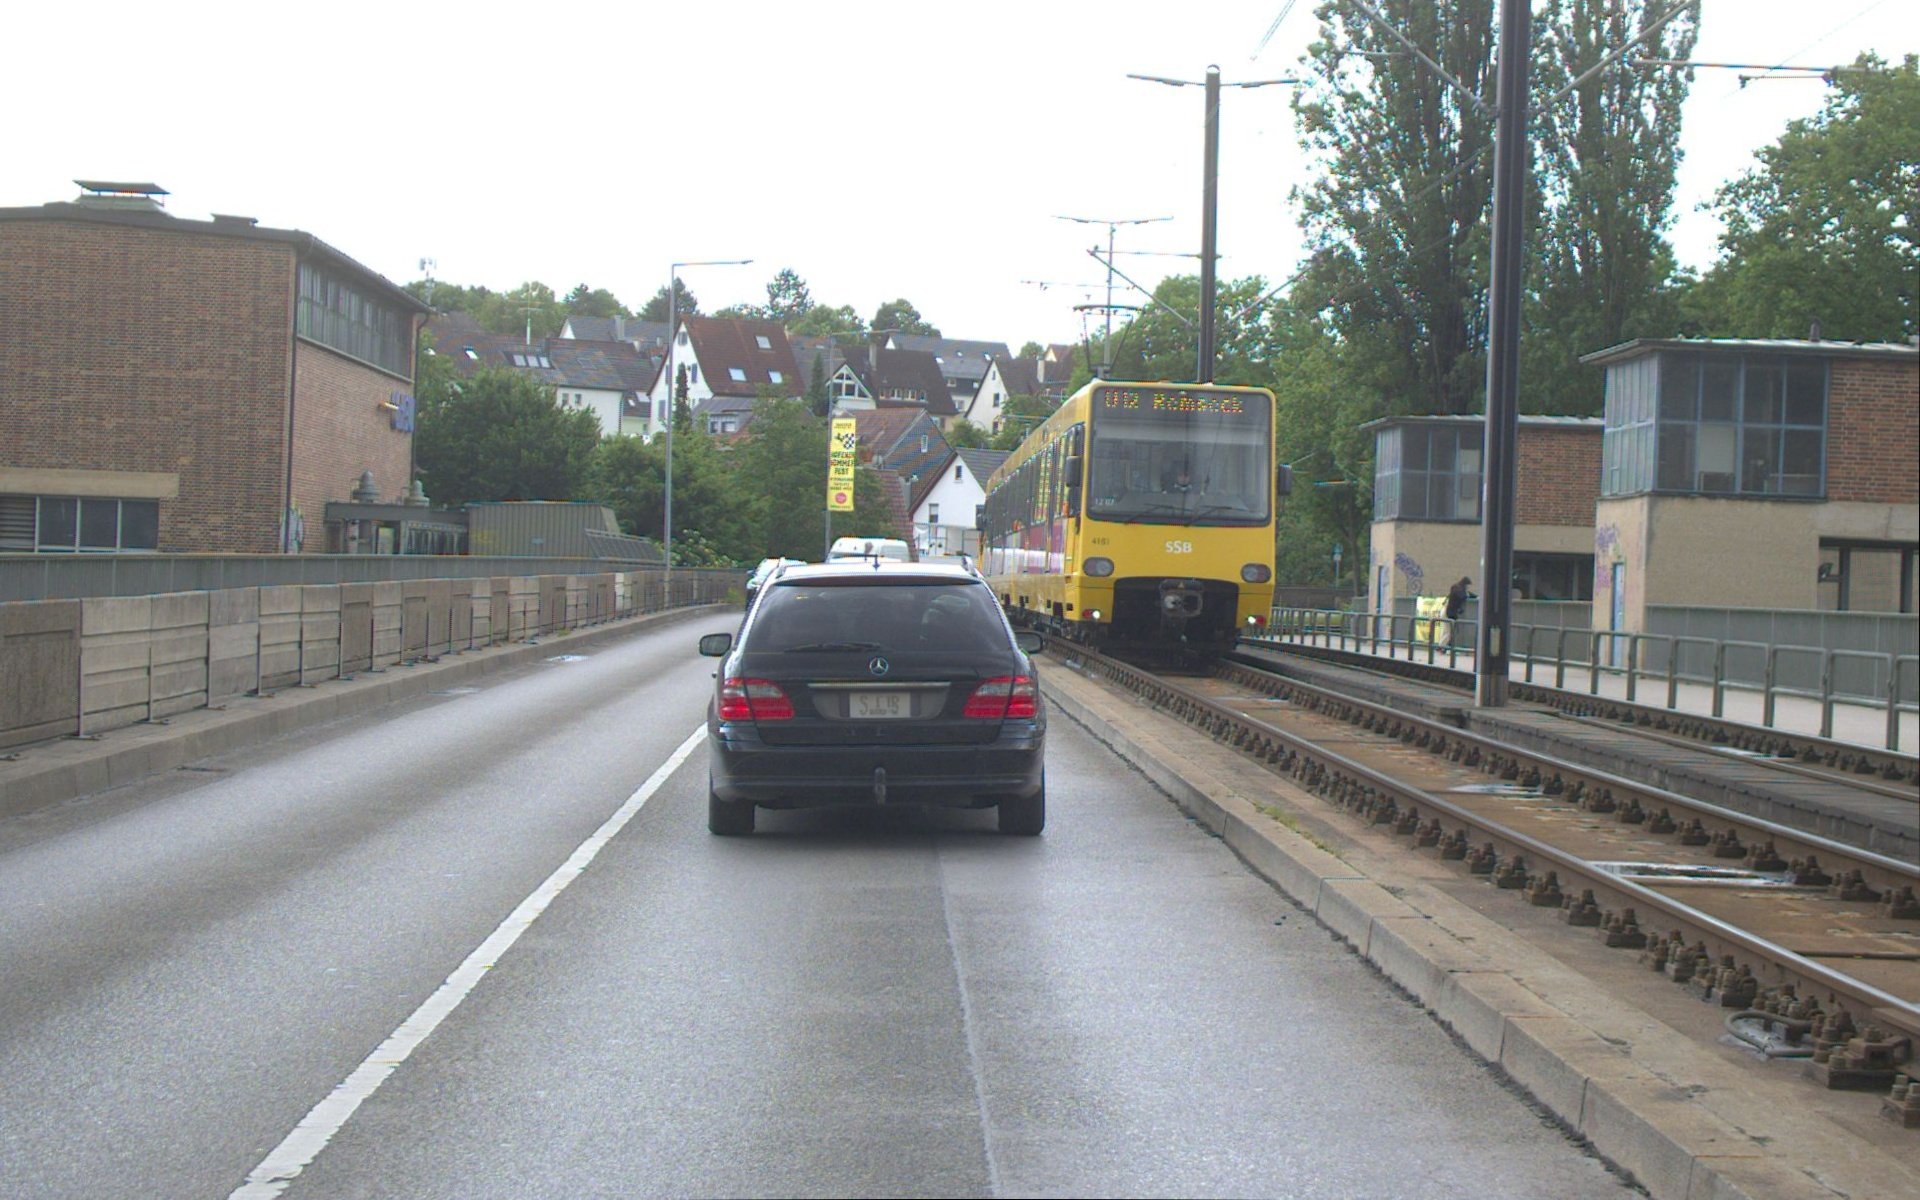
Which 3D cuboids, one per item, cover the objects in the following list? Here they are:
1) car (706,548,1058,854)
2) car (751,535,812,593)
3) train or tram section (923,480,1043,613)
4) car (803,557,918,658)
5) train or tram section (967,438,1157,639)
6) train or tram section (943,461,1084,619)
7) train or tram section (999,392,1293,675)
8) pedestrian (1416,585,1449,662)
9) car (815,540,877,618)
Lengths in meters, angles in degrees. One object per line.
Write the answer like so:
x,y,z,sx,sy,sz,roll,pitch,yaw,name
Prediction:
-0.414,0.476,19.537,1.759,1.510,4.443,1,1,0,car
-5.185,-1.077,100.214,1.715,1.640,4.001,0,1,-2,car
0.563,-1.616,109.700,2.793,3.751,19.894,2,0,-2,train or tram section
-1.677,0.098,56.586,1.770,1.550,4.241,1,1,-3,car
1.835,-1.235,70.549,2.829,3.568,18.668,0,1,-2,train or tram section
1.187,-1.456,89.807,2.784,3.643,19.894,0,0,-2,train or tram section
2.408,-0.962,51.845,2.882,3.497,18.668,0,1,-2,train or tram section
10.029,0.502,73.029,0.577,1.604,0.613,1,0,0,pedestrian
-3.916,-0.774,118.808,2.033,2.552,7.008,1,1,-1,car
